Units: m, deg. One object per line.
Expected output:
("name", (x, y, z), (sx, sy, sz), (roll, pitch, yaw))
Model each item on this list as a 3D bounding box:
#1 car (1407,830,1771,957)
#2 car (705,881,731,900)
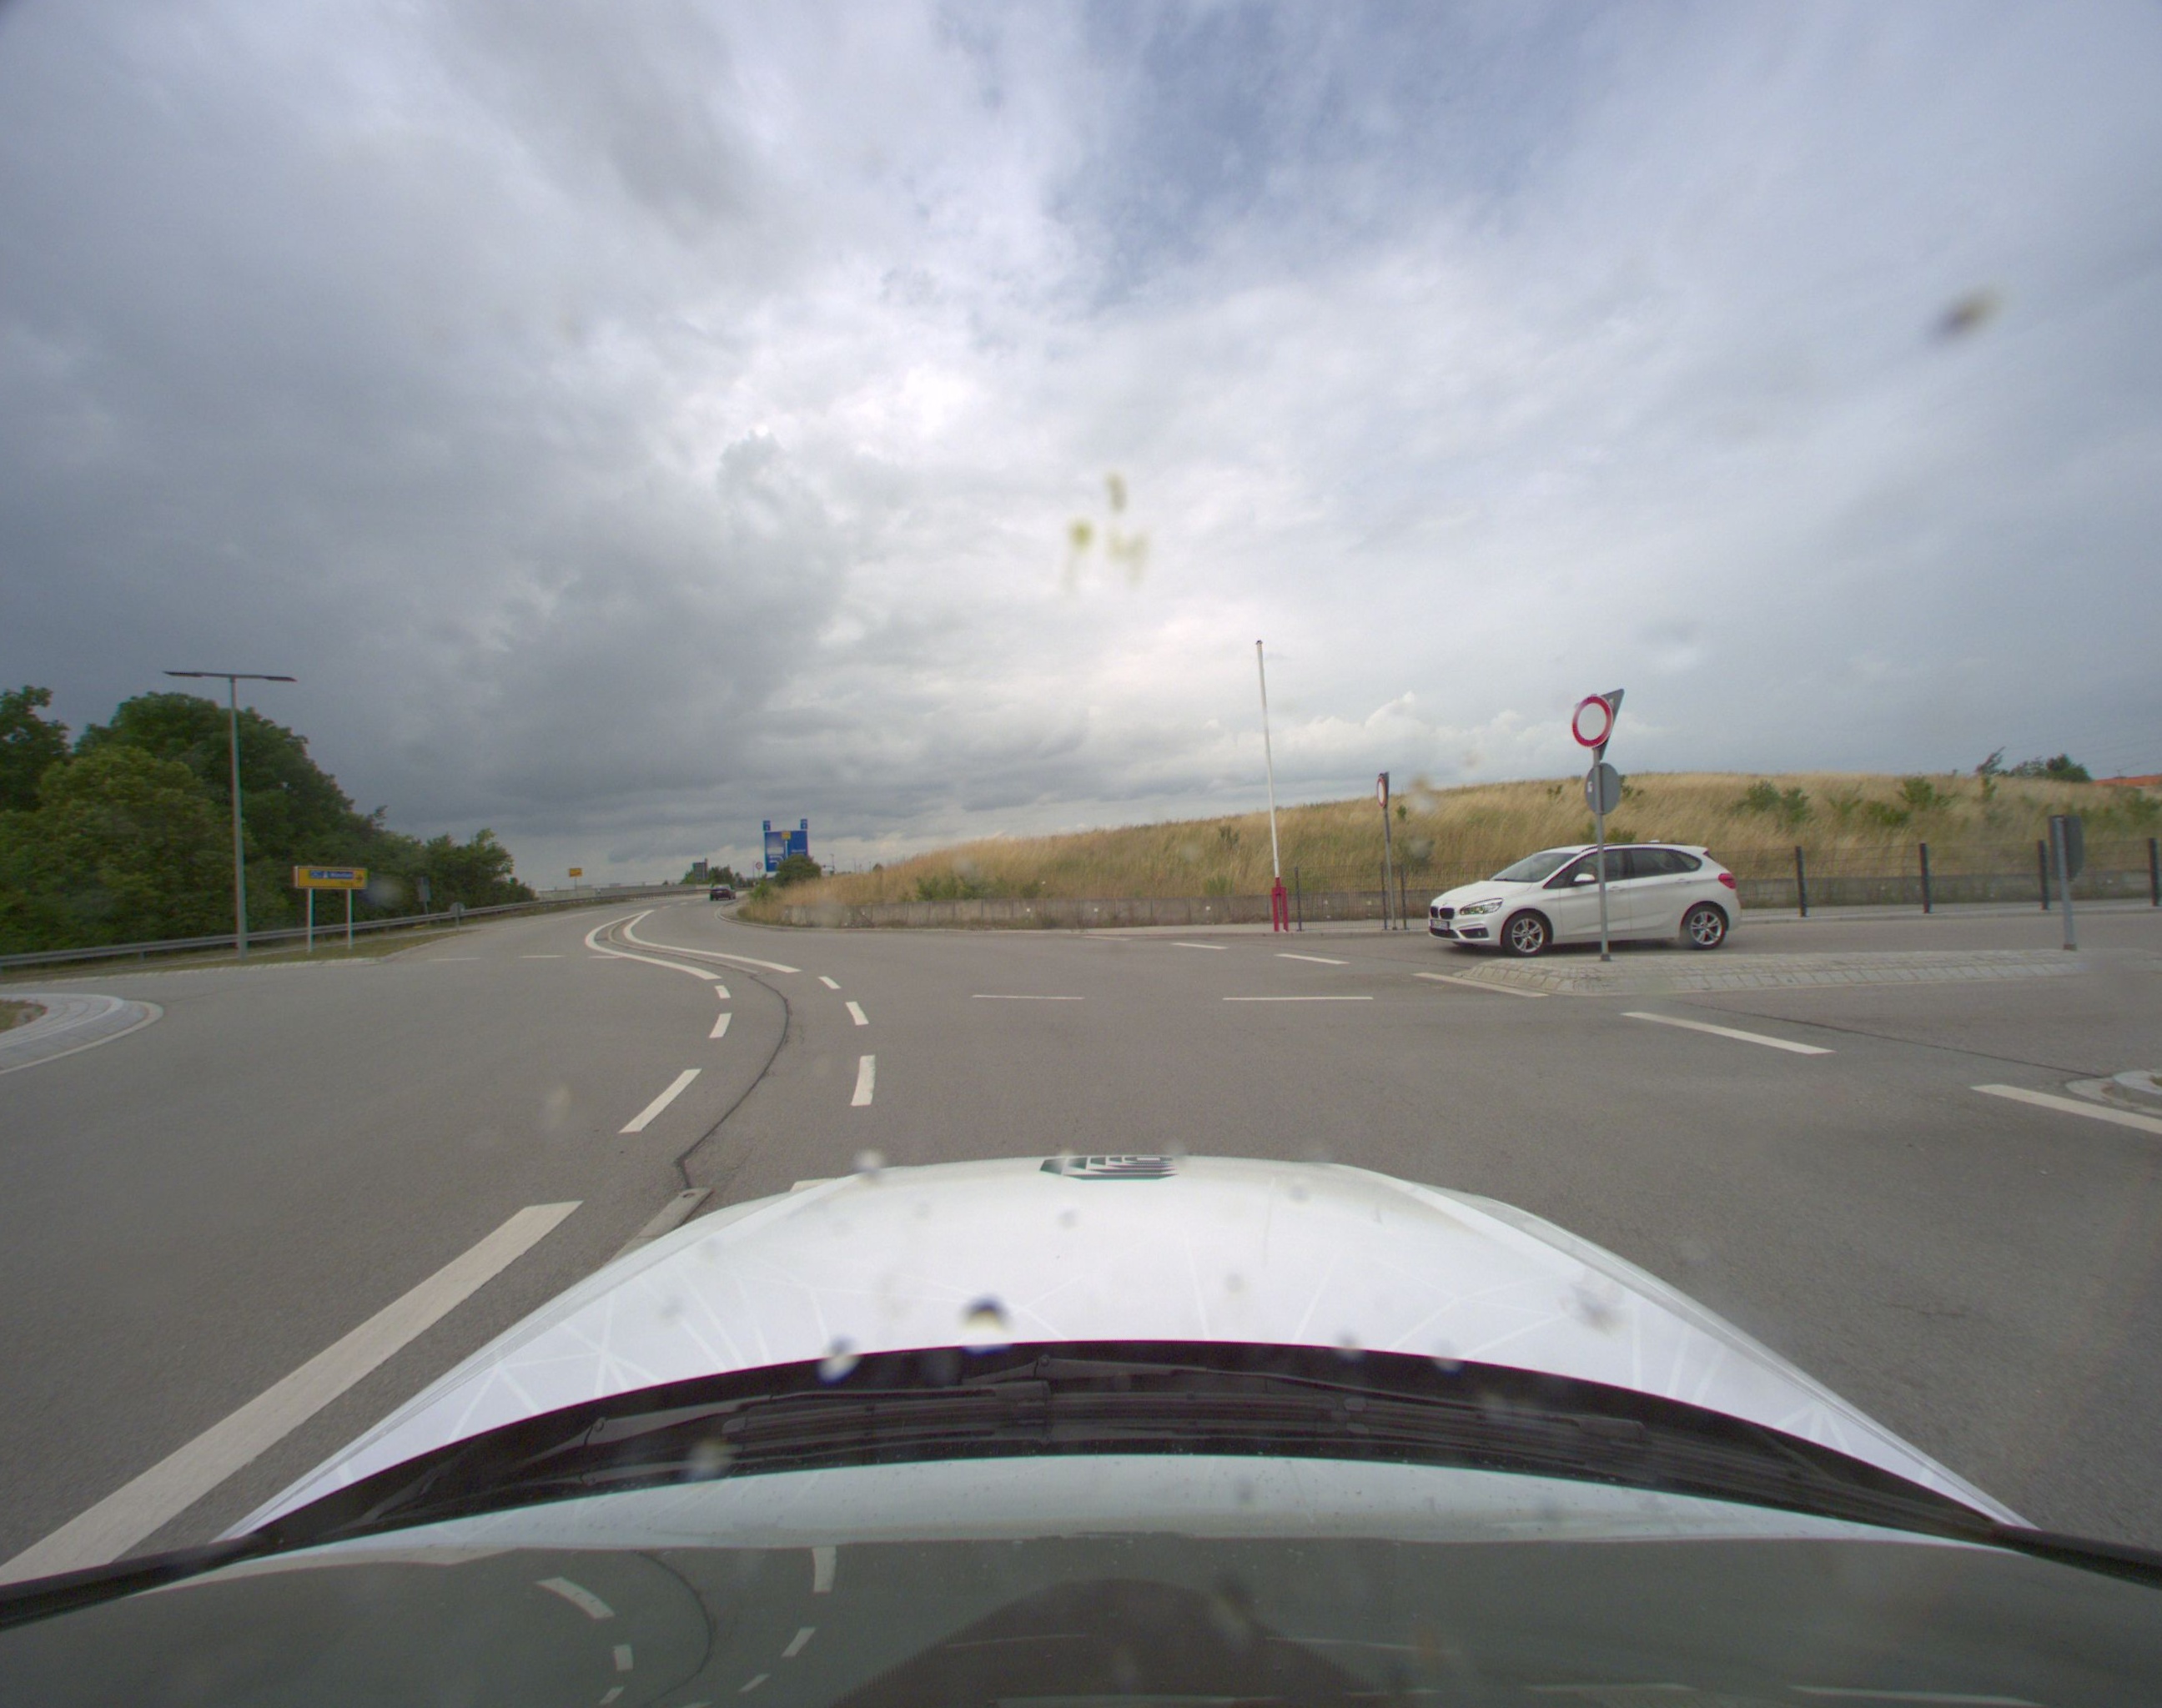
("car", (7.479, 0.555, 12.283), (4.402, 1.629, 1.783), (-2, -1, -2))
("car", (-31.026, 3.087, 69.646), (1.522, 1.485, 3.594), (-2, -2, -17))
